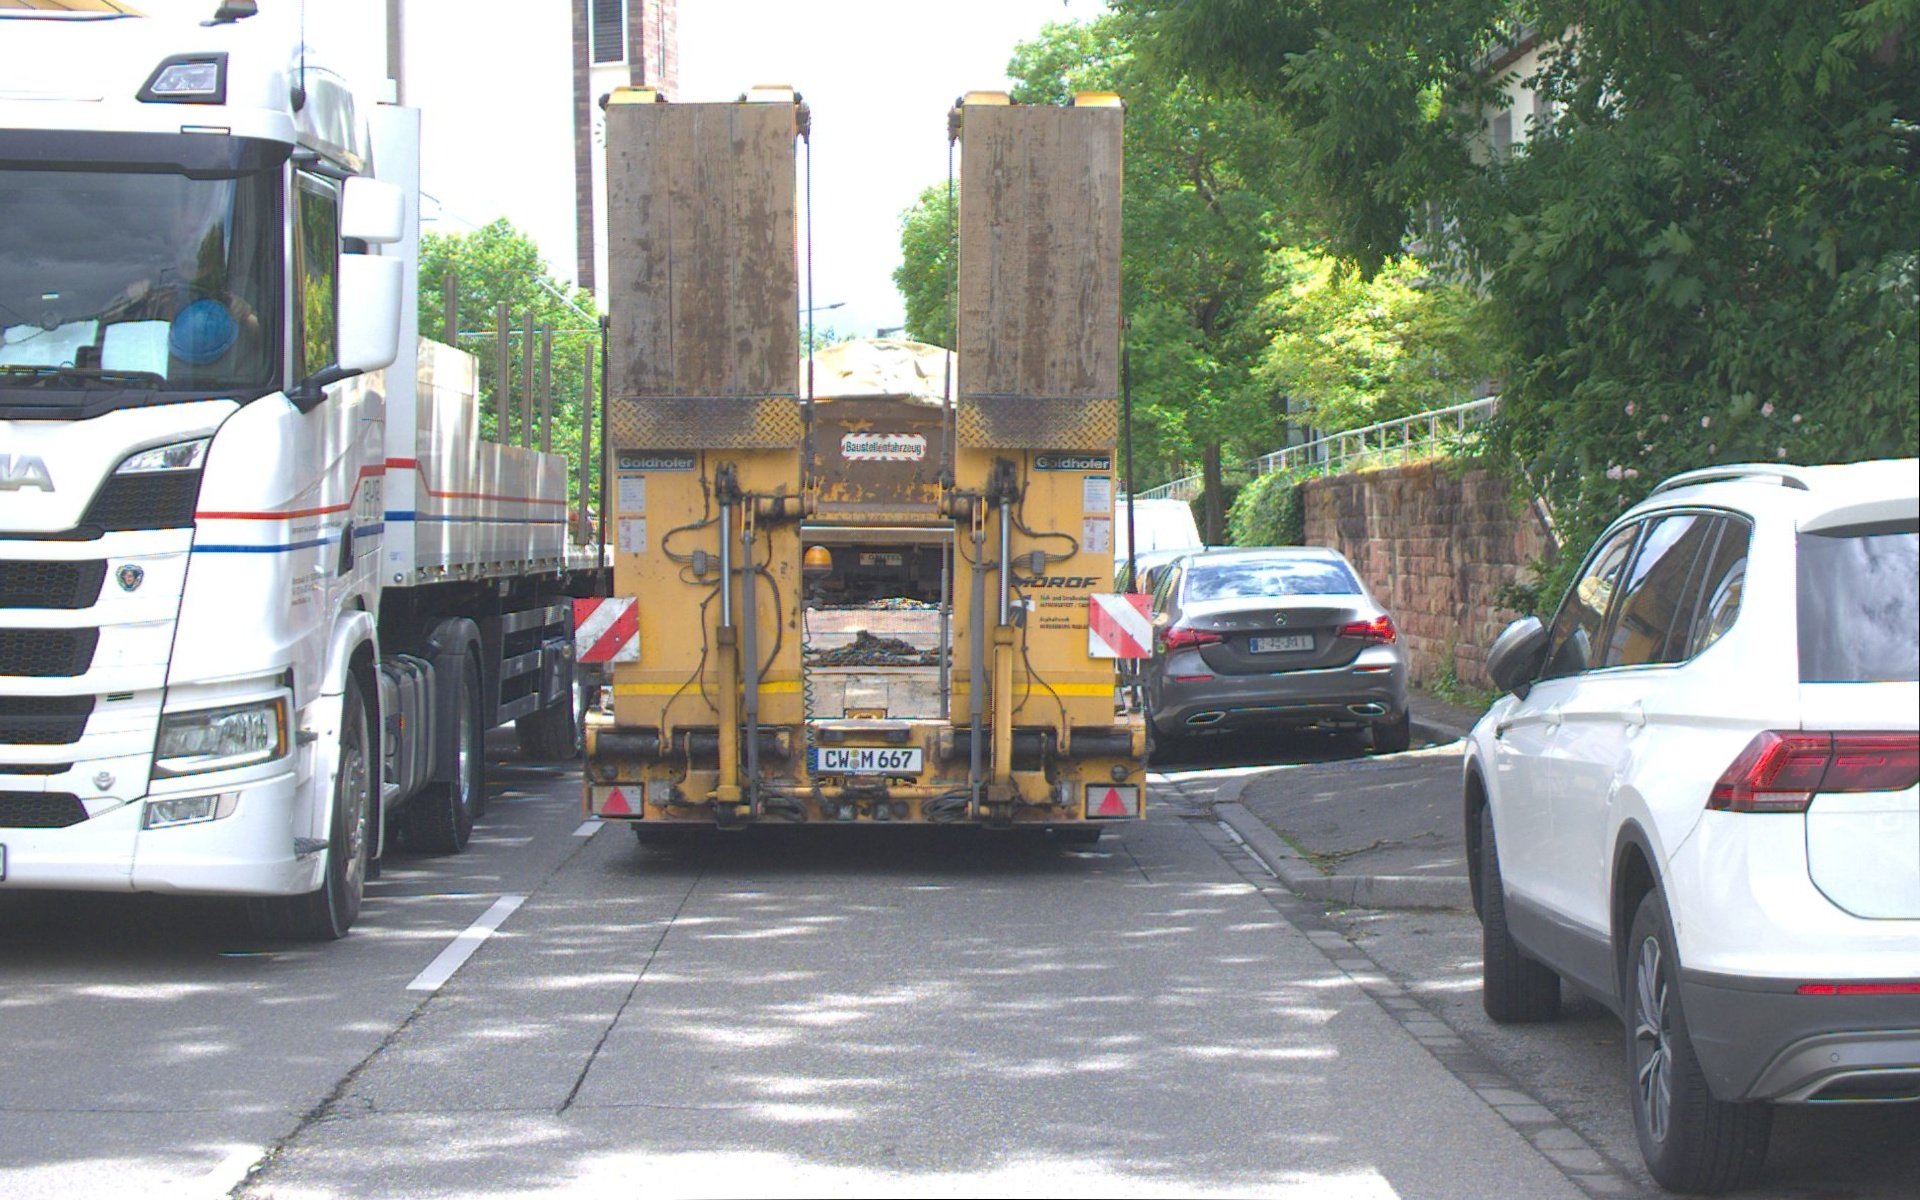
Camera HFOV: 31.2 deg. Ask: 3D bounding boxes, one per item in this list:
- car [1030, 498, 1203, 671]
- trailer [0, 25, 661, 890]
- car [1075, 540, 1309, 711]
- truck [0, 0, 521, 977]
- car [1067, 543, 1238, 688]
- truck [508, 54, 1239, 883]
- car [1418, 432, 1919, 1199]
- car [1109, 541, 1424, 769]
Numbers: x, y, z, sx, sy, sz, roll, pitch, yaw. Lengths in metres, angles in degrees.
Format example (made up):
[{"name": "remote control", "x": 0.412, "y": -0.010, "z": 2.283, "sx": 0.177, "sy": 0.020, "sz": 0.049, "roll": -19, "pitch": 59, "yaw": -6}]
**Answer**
[{"name": "car", "x": 1.873, "y": -0.236, "z": 42.320, "sx": 1.799, "sy": 1.961, "sz": 4.590, "roll": -2, "pitch": 1, "yaw": -1}, {"name": "trailer", "x": -3.668, "y": -0.755, "z": 21.063, "sx": 2.698, "sy": 3.568, "sz": 13.676, "roll": 0, "pitch": 1, "yaw": -1}, {"name": "car", "x": 2.071, "y": 0.185, "z": 31.726, "sx": 1.690, "sy": 1.400, "sz": 4.069, "roll": -2, "pitch": 1, "yaw": -2}, {"name": "truck", "x": -3.568, "y": -0.597, "z": 14.618, "sx": 2.698, "sy": 3.568, "sz": 6.145, "roll": 0, "pitch": 1, "yaw": -1}, {"name": "car", "x": 2.021, "y": 0.125, "z": 36.910, "sx": 1.621, "sy": 1.400, "sz": 3.650, "roll": -2, "pitch": 1, "yaw": 0}, {"name": "truck", "x": -0.462, "y": -0.719, "z": 21.083, "sx": 3.124, "sy": 3.552, "sz": 12.461, "roll": -1, "pitch": 1, "yaw": -1}, {"name": "car", "x": 2.409, "y": 0.436, "z": 9.103, "sx": 1.824, "sy": 1.676, "sz": 4.576, "roll": -1, "pitch": 1, "yaw": 1}, {"name": "car", "x": 2.091, "y": 0.320, "z": 24.593, "sx": 1.836, "sy": 1.400, "sz": 4.414, "roll": -2, "pitch": 1, "yaw": 0}]
